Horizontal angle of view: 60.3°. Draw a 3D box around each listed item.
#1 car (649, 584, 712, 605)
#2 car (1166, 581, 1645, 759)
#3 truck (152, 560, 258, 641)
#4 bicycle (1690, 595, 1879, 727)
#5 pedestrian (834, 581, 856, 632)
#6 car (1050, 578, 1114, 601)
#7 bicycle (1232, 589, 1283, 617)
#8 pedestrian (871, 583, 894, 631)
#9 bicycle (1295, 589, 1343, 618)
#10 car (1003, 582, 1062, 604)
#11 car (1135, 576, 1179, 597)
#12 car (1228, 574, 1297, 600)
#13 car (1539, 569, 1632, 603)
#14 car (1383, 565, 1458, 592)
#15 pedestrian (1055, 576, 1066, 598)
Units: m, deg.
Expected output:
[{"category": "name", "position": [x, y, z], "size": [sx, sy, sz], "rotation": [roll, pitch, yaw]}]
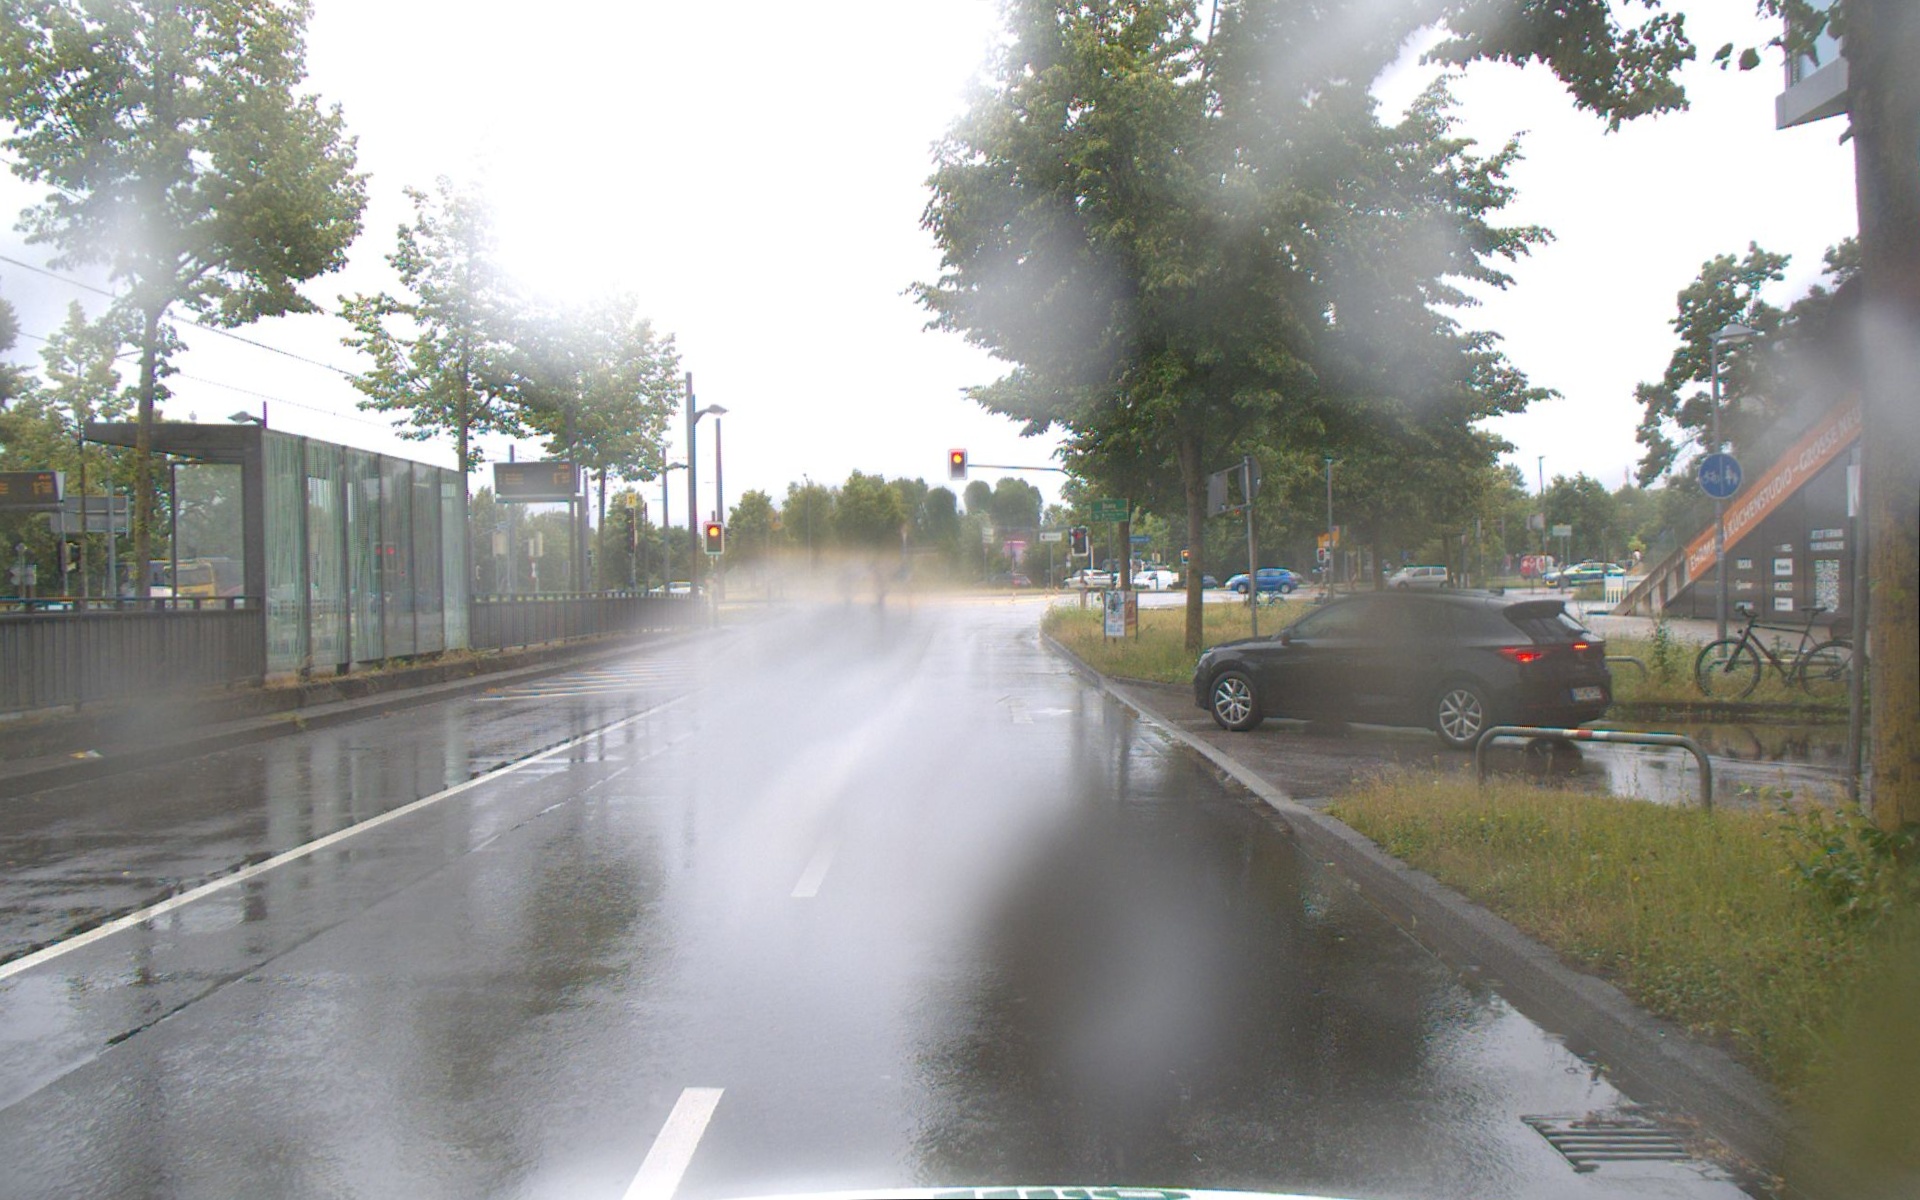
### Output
[{"category": "car", "position": [-20.906, -0.444, 123.550], "size": [4.529, 1.479, 1.618], "rotation": [-1, 1, -14]}, {"category": "car", "position": [4.234, 0.567, 16.249], "size": [1.817, 1.444, 4.281], "rotation": [-2, 2, -41]}, {"category": "truck", "position": [-38.008, 0.026, 83.602], "size": [2.639, 3.844, 9.159], "rotation": [1, 0, -11]}, {"category": "bicycle", "position": [8.931, 0.638, 17.973], "size": [1.806, 1.370, 0.532], "rotation": [0, 2, 26]}, {"category": "pedestrian", "position": [-3.566, 0.191, 51.273], "size": [0.608, 1.549, 0.741], "rotation": [1, 0, 0]}, {"category": "car", "position": [7.944, -0.689, 107.521], "size": [4.041, 1.479, 1.613], "rotation": [0, 1, 43]}, {"category": "bicycle", "position": [8.910, 0.089, 49.591], "size": [0.375, 0.800, 1.839], "rotation": [1, 0, -32]}, {"category": "pedestrian", "position": [-2.458, 0.213, 52.439], "size": [0.666, 1.486, 0.573], "rotation": [-2, 0, -3]}, {"category": "bicycle", "position": [10.116, 0.102, 46.671], "size": [0.445, 0.800, 2.001], "rotation": [1, 0, -15]}, {"category": "car", "position": [4.966, -0.466, 113.388], "size": [3.915, 1.479, 1.614], "rotation": [0, 1, 41]}, {"category": "car", "position": [16.998, -1.157, 142.549], "size": [1.770, 1.691, 4.109], "rotation": [1, 0, 42]}, {"category": "car", "position": [17.970, -0.752, 98.257], "size": [3.890, 1.479, 1.625], "rotation": [-1, 1, 14]}, {"category": "car", "position": [36.563, -0.800, 96.760], "size": [4.667, 1.883, 1.998], "rotation": [-1, 1, -5]}, {"category": "car", "position": [26.962, -1.253, 96.909], "size": [3.892, 1.479, 1.624], "rotation": [-1, 1, 1]}, {"category": "pedestrian", "position": [6.066, -0.780, 99.531], "size": [0.445, 1.327, 0.483], "rotation": [-1, 1, 40]}]
